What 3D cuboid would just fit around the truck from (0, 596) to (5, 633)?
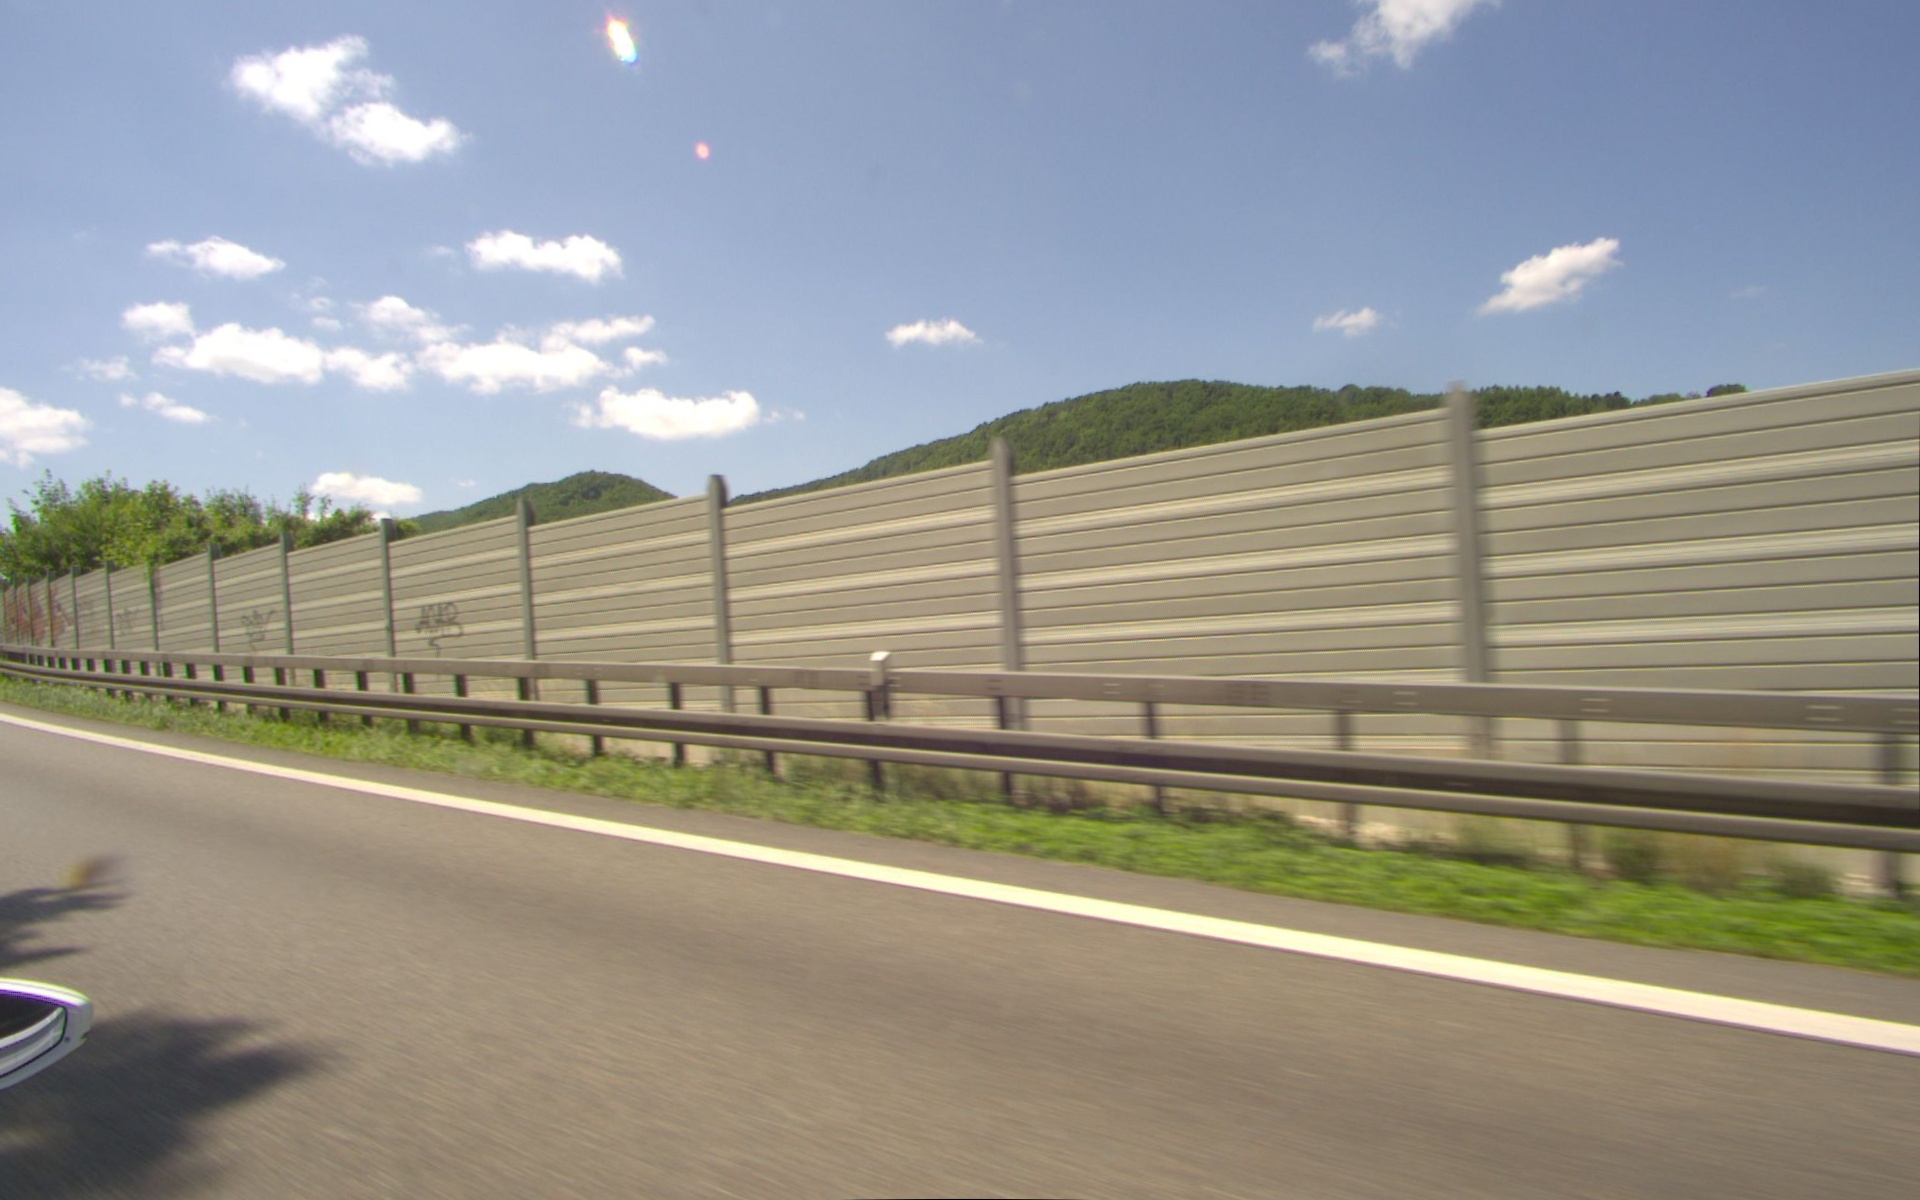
[{"bbox_3d":[-112.754,1.687,115.875,2.712,4.149,7.416,-1,-1,-41],"label":"truck"}]
